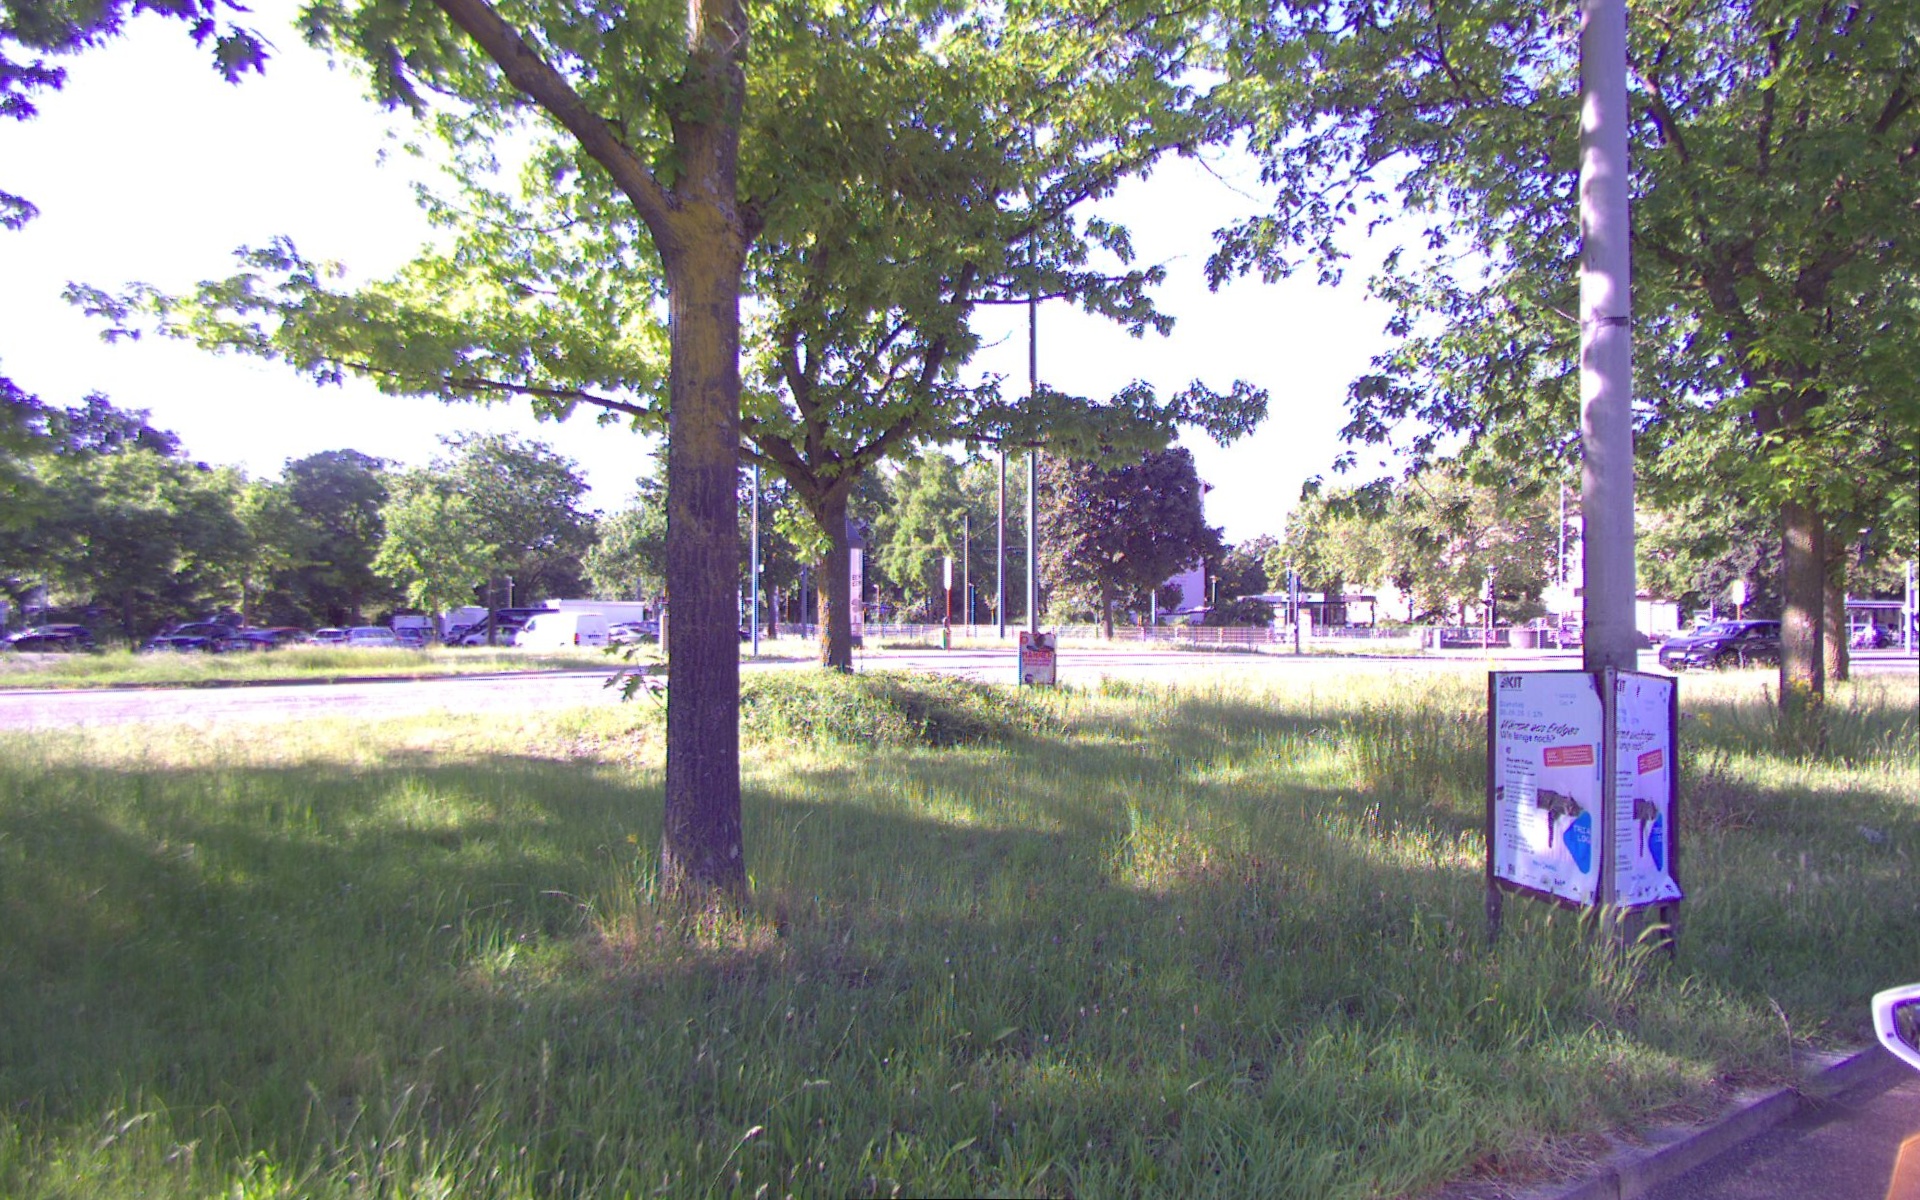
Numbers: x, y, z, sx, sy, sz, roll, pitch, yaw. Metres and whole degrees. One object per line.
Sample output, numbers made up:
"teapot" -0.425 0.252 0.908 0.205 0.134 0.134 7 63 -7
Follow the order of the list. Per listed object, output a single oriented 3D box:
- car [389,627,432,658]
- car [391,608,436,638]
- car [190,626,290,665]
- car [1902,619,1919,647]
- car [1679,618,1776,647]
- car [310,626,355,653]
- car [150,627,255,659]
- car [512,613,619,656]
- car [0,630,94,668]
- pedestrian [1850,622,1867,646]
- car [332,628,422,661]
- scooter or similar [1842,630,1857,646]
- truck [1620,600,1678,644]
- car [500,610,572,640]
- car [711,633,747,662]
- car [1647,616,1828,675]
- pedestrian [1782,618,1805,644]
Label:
"car" -26.706 2.034 48.779 1.602 1.438 3.050 1 -1 -33
"car" -32.493 1.371 59.786 1.865 1.691 3.733 1 -1 -22
"car" -25.237 1.568 35.245 2.769 1.323 1.326 1 -1 -40
"car" 71.857 2.395 73.360 1.910 2.040 4.155 1 -1 -31
"car" 46.902 1.966 61.469 4.233 1.706 2.001 0 -1 9
"car" -29.298 1.830 46.865 1.603 1.194 3.047 1 -1 -35
"car" -26.846 1.509 35.629 1.315 1.078 2.777 -1 -1 42
"car" -17.222 1.479 43.801 4.670 1.762 2.024 0 -1 34
"car" -47.663 2.504 51.904 1.966 1.817 3.990 0 -1 32
"pedestrian" 53.046 2.022 59.299 0.614 1.409 0.416 0 -1 -3
"car" -21.830 1.639 37.635 2.769 1.171 1.326 1 -1 -40
"scooter or similar" 52.481 2.242 59.254 0.524 0.939 0.421 0 -1 -4
"truck" 46.636 1.479 68.094 1.960 2.842 4.002 0 -1 15
"car" -24.135 1.419 57.290 3.698 1.691 1.883 1 -1 -23
"car" -12.035 2.459 52.488 1.589 1.438 3.073 0 -1 -8
"car" 23.042 1.315 29.822 4.381 1.669 1.829 0 -1 -11
"pedestrian" 53.560 1.997 64.555 0.781 1.629 0.923 0 -1 9
